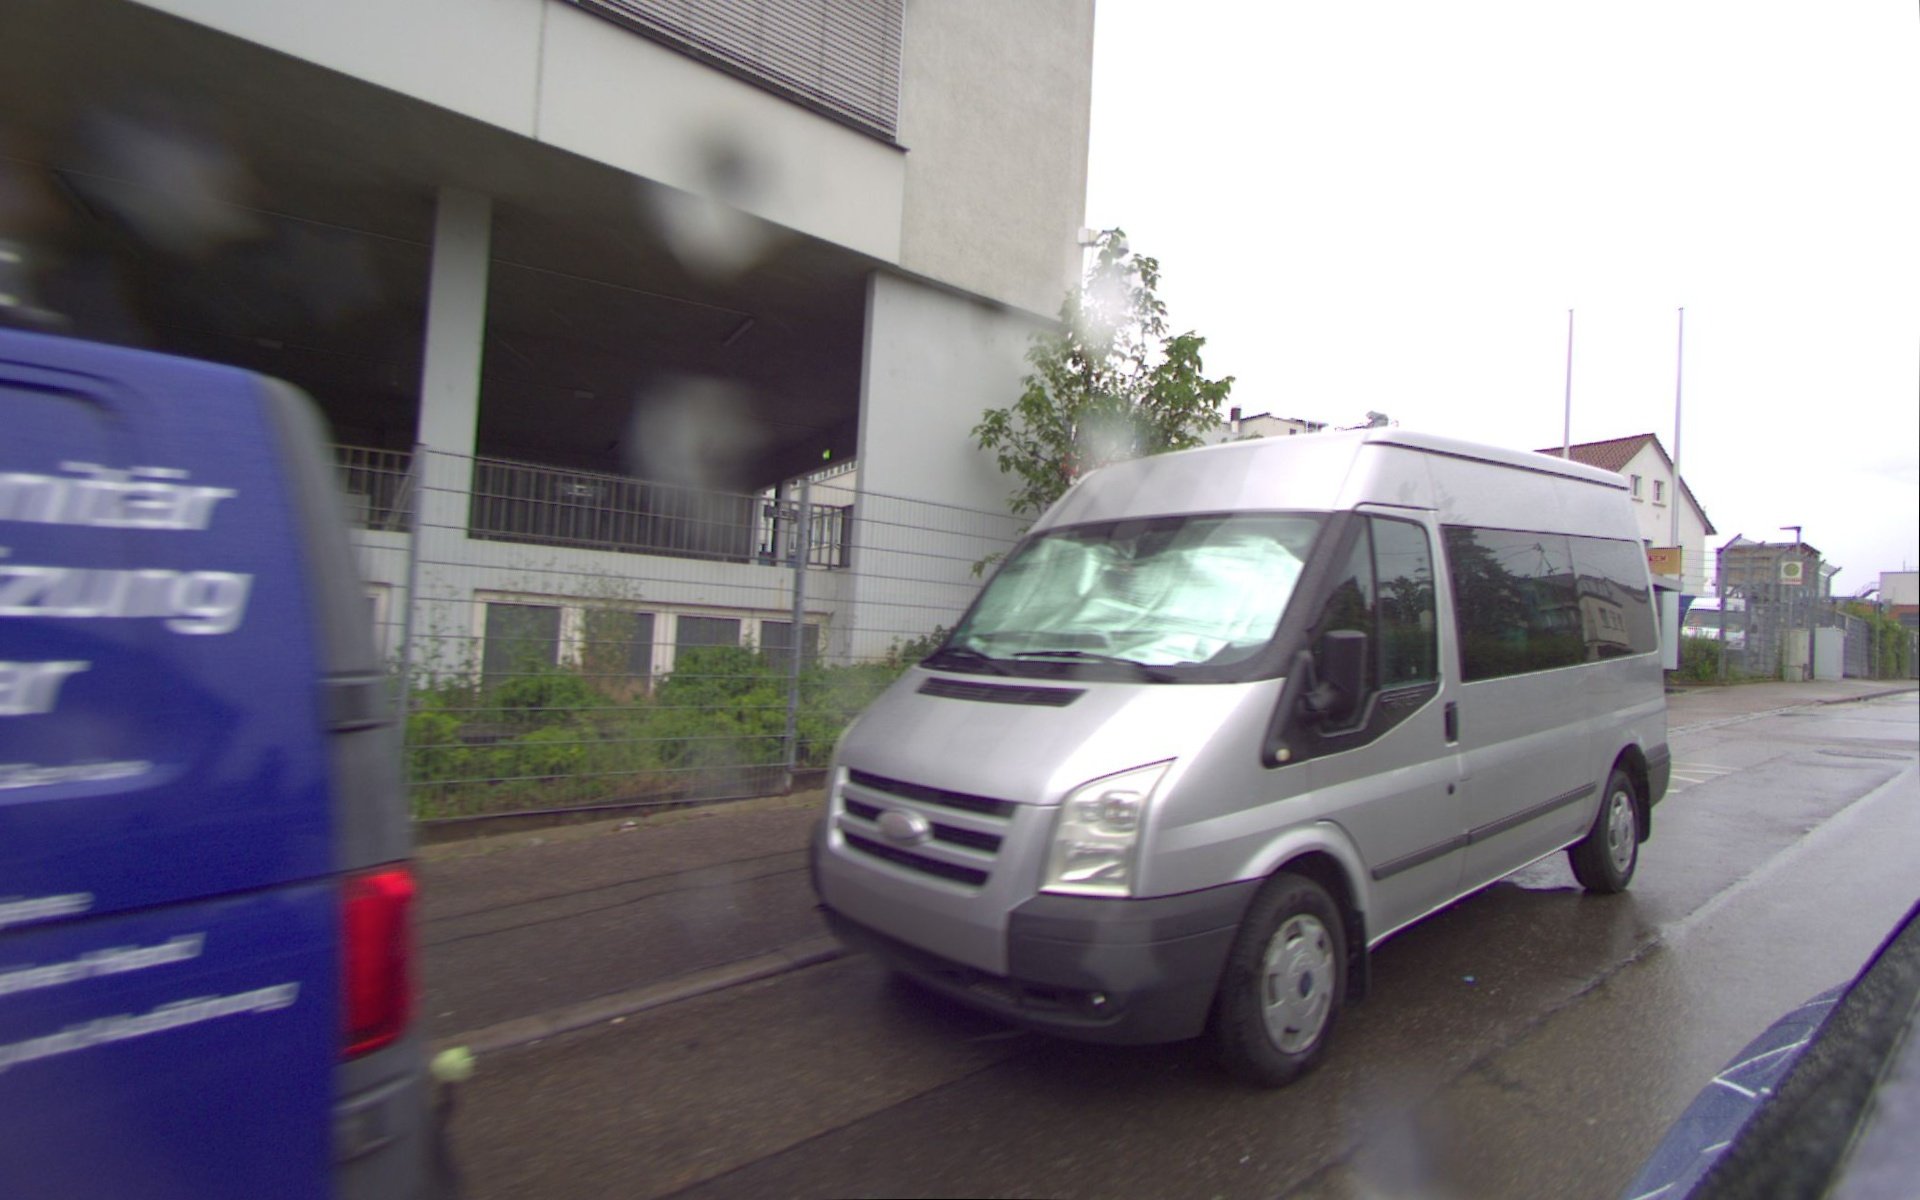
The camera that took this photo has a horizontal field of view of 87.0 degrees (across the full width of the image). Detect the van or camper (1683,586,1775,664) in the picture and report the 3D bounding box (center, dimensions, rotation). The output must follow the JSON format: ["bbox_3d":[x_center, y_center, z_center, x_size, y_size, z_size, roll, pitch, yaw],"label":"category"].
[{"bbox_3d":[27.715,0.915,36.399,2.083,2.527,5.715,2,0,42],"label":"van or camper"}]

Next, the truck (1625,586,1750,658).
[{"bbox_3d":[32.672,1.024,45.349,6.995,3.006,2.327,2,-1,-35],"label":"truck"}]

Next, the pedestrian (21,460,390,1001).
[{"bbox_3d":[-3.020,0.428,4.062,1.013,1.781,1.025,3,0,-42],"label":"pedestrian"}]

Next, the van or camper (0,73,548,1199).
[{"bbox_3d":[-3.239,0.410,0.665,5.111,2.140,1.997,1,1,-41],"label":"van or camper"}]

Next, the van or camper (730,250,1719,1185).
[{"bbox_3d":[1.781,0.291,4.972,5.345,2.271,1.997,1,1,-41],"label":"van or camper"}]
